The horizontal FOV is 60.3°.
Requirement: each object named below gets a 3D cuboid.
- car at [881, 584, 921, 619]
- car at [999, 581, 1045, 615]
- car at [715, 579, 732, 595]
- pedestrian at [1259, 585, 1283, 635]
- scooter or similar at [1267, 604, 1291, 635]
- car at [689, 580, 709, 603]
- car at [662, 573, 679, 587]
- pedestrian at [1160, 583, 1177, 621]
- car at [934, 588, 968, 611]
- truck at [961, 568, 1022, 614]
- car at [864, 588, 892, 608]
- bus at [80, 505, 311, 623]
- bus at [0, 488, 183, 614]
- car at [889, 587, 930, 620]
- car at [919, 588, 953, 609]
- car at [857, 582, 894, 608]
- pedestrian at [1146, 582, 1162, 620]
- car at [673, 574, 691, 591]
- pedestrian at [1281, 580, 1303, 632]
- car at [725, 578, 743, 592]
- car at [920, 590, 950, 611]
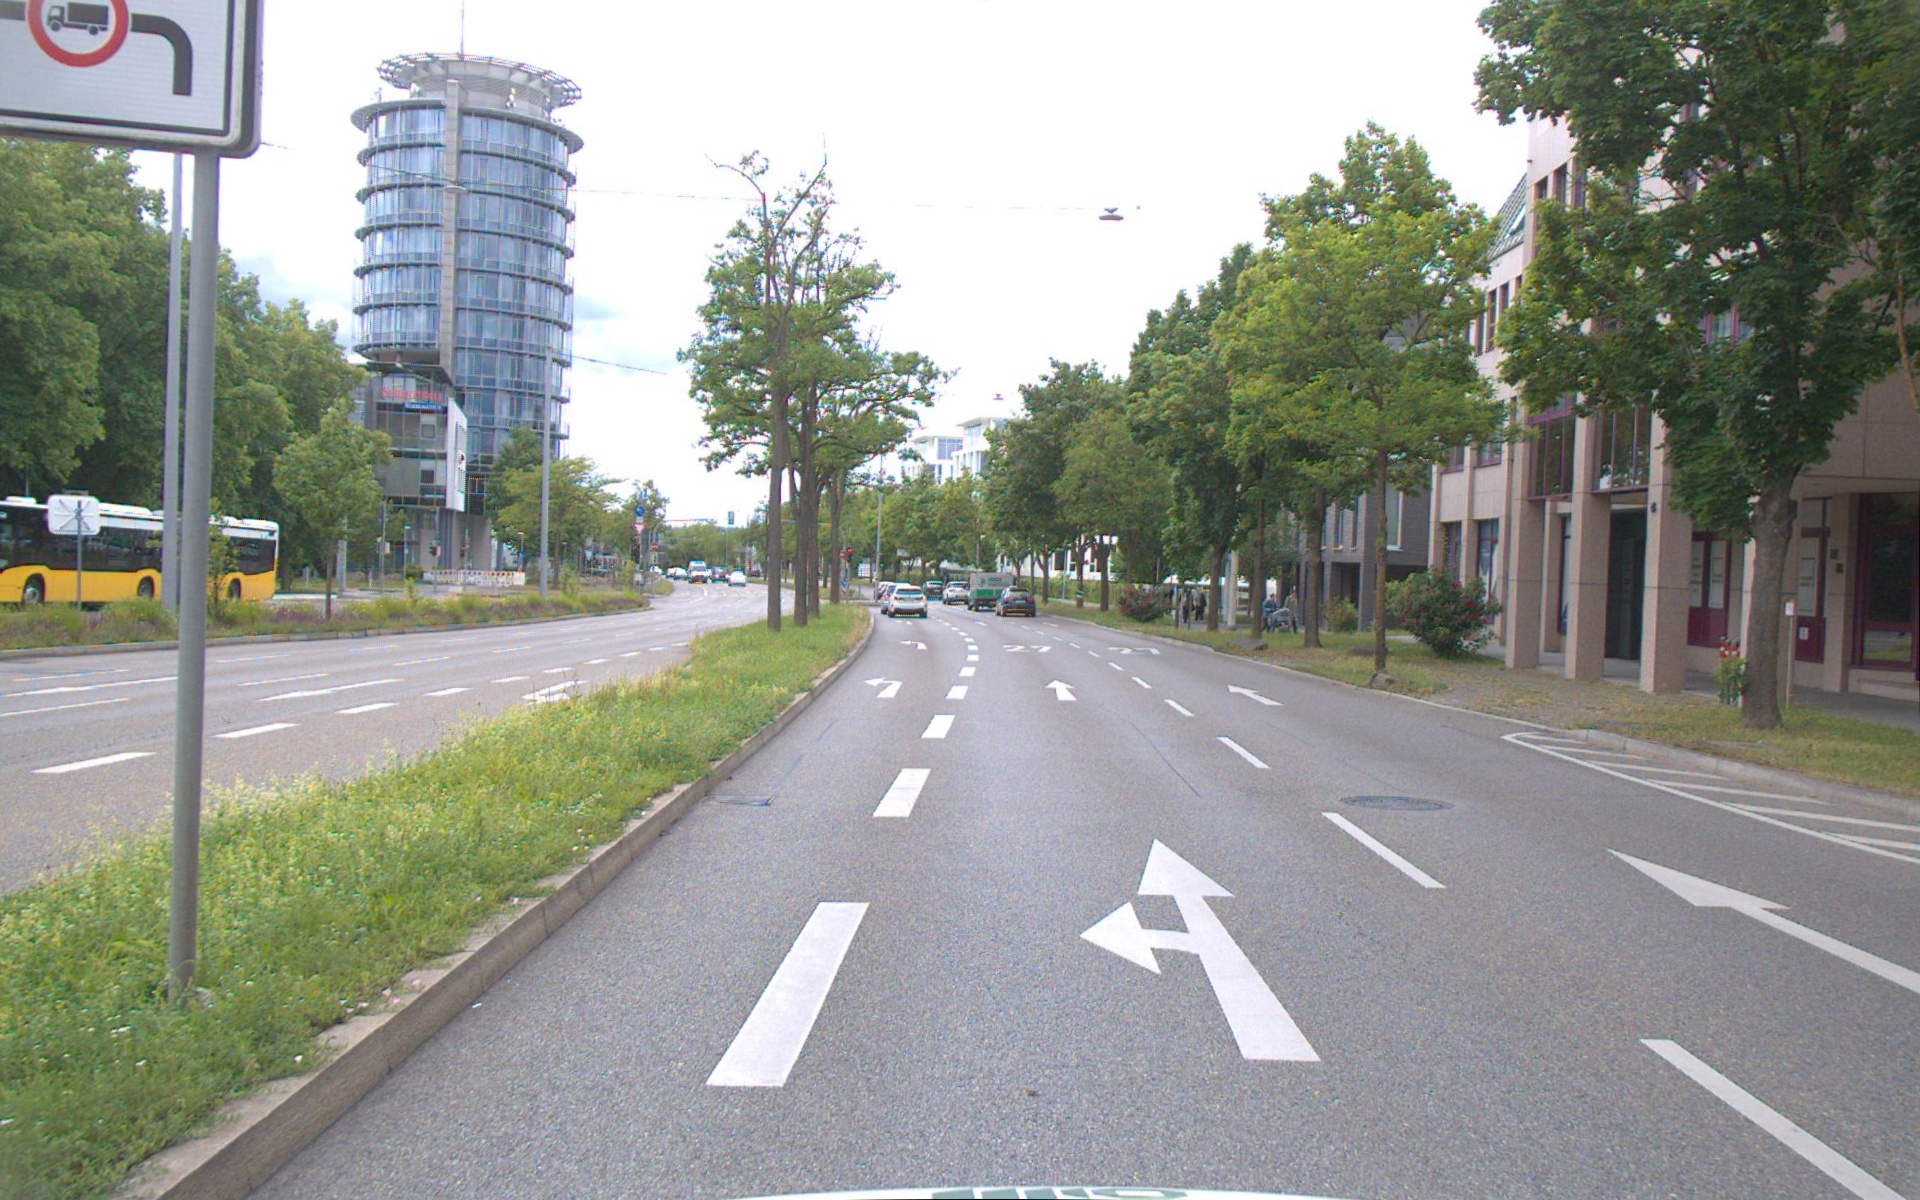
[{"bbox_3d":[-3.061,0.087,85.642,1.954,1.701,3.998,2,0,-3],"label":"car"},{"bbox_3d":[3.100,-0.103,83.380,1.953,1.624,3.998,2,0,-2],"label":"car"},{"bbox_3d":[-29.695,-1.629,207.884,1.955,1.964,3.995,3,0,-6],"label":"car"},{"bbox_3d":[10.547,0.322,56.189,0.544,1.681,0.960,0,0,-7],"label":"pedestrian"},{"bbox_3d":[10.652,0.641,55.280,0.572,1.011,0.845,0,0,-7],"label":"scooter or similar"},{"bbox_3d":[-31.639,-1.016,200.753,1.955,2.679,5.867,3,0,-6],"label":"car"},{"bbox_3d":[-42.464,-2.961,242.655,1.955,1.885,4.319,3,0,-6],"label":"car"},{"bbox_3d":[10.314,0.107,81.754,0.596,1.806,0.953,1,2,-3],"label":"pedestrian"},{"bbox_3d":[-0.621,-0.046,113.598,1.955,1.534,3.995,1,0,-6],"label":"car"},{"bbox_3d":[1.813,-0.506,97.288,2.804,2.563,6.280,2,0,-6],"label":"truck"},{"bbox_3d":[-6.559,-0.161,131.367,1.955,1.516,3.995,2,0,-6],"label":"car"},{"bbox_3d":[-25.858,-1.132,56.706,2.969,3.515,9.912,3,0,1],"label":"bus"},{"bbox_3d":[-25.972,-1.346,46.432,3.020,3.217,10.738,3,0,1],"label":"bus"},{"bbox_3d":[-2.367,0.165,78.422,1.825,1.474,3.999,2,0,-1],"label":"car"},{"bbox_3d":[-1.892,-0.163,128.787,1.958,1.534,3.990,2,0,-10],"label":"car"},{"bbox_3d":[-5.285,-0.307,104.419,1.952,1.534,4.001,2,0,2],"label":"car"},{"bbox_3d":[9.593,0.037,81.675,0.596,1.806,0.953,1,2,-3],"label":"pedestrian"},{"bbox_3d":[-37.635,-2.367,223.929,1.955,2.045,4.319,3,0,-6],"label":"car"},{"bbox_3d":[11.307,0.215,56.280,0.555,1.729,0.829,2,0,1],"label":"pedestrian"},{"bbox_3d":[-25.143,-1.659,184.067,1.719,1.469,4.129,3,0,-6],"label":"car"},{"bbox_3d":[-1.973,0.021,129.371,1.955,1.516,3.995,2,0,-6],"label":"car"}]
